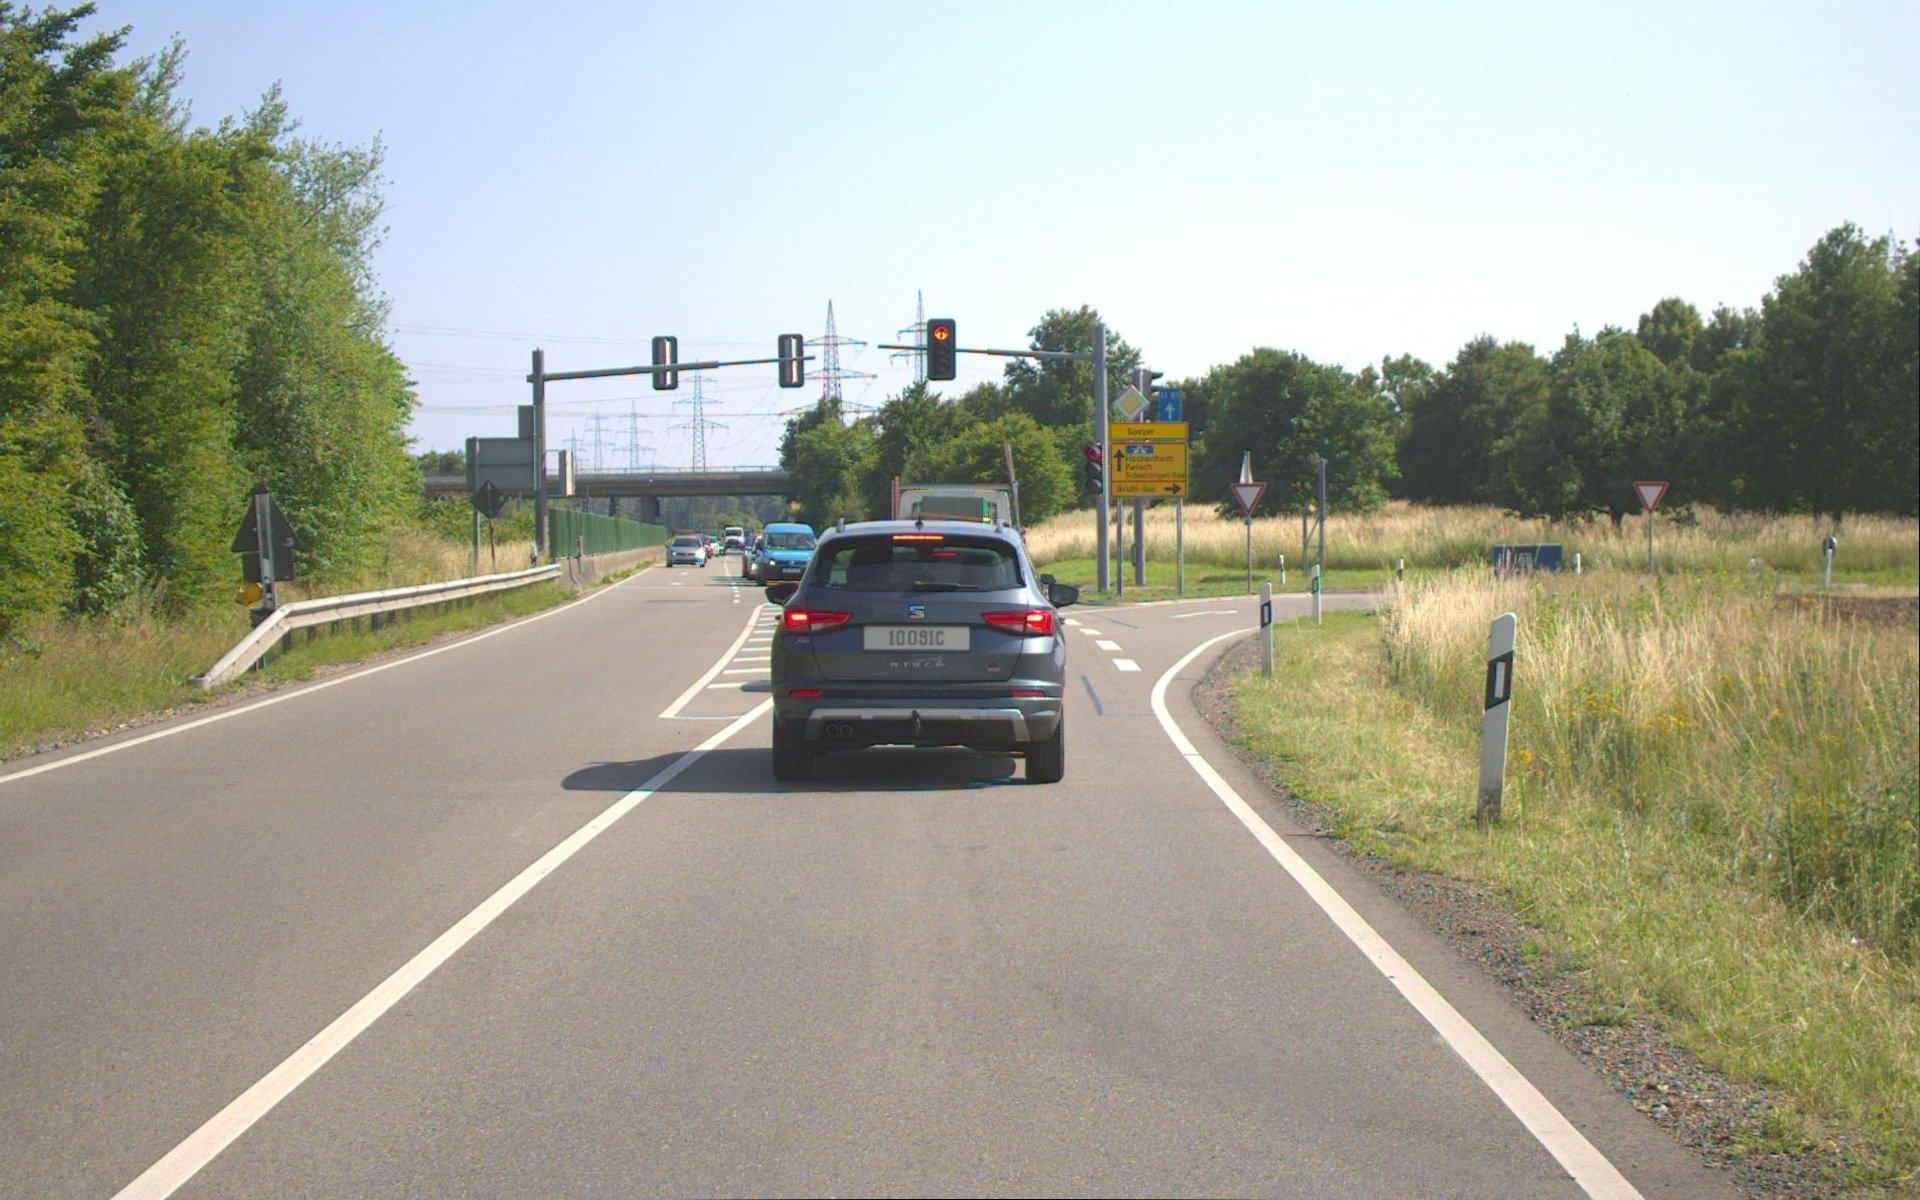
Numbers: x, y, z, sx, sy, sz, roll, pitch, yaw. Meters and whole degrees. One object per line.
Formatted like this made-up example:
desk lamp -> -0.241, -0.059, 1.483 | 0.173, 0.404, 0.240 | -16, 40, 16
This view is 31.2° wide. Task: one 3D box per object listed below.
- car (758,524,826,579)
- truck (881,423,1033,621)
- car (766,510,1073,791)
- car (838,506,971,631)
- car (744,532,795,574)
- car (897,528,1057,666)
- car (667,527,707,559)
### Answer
car -> -4.913, -1.435, 100.047 | 1.816, 1.535, 4.001 | -1, 1, -5
truck -> -0.050, -1.238, 55.909 | 2.337, 3.055, 5.810 | 0, 1, 0
car -> -0.279, 0.244, 22.107 | 1.785, 1.623, 4.001 | 0, 2, -1
car -> -0.799, -0.477, 48.393 | 1.785, 1.670, 4.001 | 0, 2, -1
car -> -6.592, -1.628, 118.846 | 1.684, 1.375, 3.534 | 0, 2, -4
car -> 0.162, -0.076, 41.068 | 1.785, 1.538, 4.001 | 0, 2, -1
car -> -12.657, -2.660, 159.294 | 1.824, 1.426, 4.001 | -1, 1, -5
